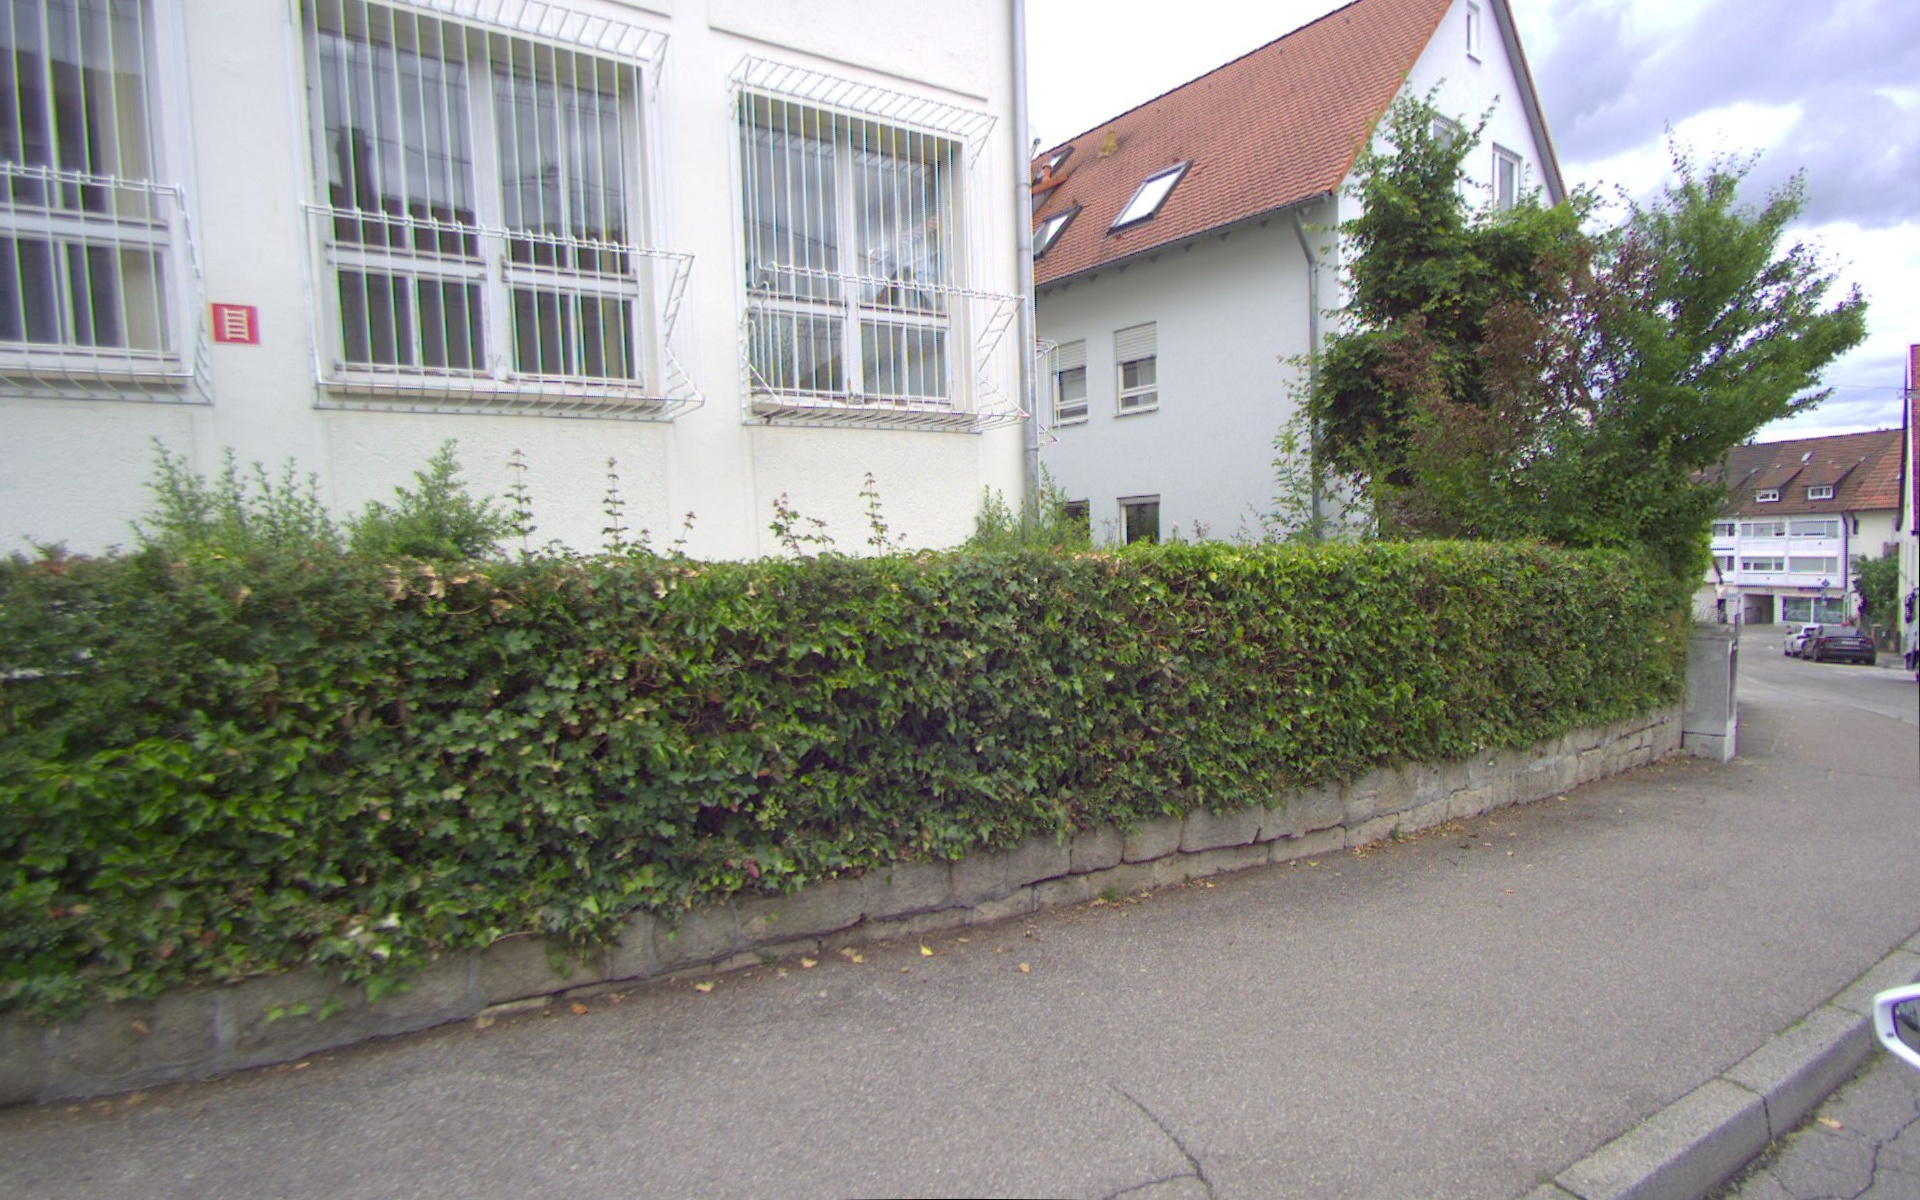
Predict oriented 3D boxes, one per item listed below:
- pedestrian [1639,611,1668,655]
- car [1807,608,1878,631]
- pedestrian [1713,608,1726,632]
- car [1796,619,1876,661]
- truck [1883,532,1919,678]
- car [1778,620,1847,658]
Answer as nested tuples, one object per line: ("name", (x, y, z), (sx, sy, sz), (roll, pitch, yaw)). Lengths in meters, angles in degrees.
("pedestrian", (27.926, 1.309, 40.457), (0.828, 1.700, 0.974), (3, 1, 31))
("car", (65.443, 1.433, 74.559), (1.667, 1.577, 3.686), (0, 1, -12))
("pedestrian", (55.074, 1.462, 72.834), (0.636, 1.707, 0.604), (1, 2, 24))
("car", (33.871, 1.509, 38.943), (1.650, 1.427, 4.041), (3, 1, 32))
("truck", (24.521, 0.123, 23.355), (2.636, 3.645, 8.091), (1, 0, 29))
("car", (36.837, 1.638, 43.478), (1.770, 1.465, 4.285), (2, 0, 34))
